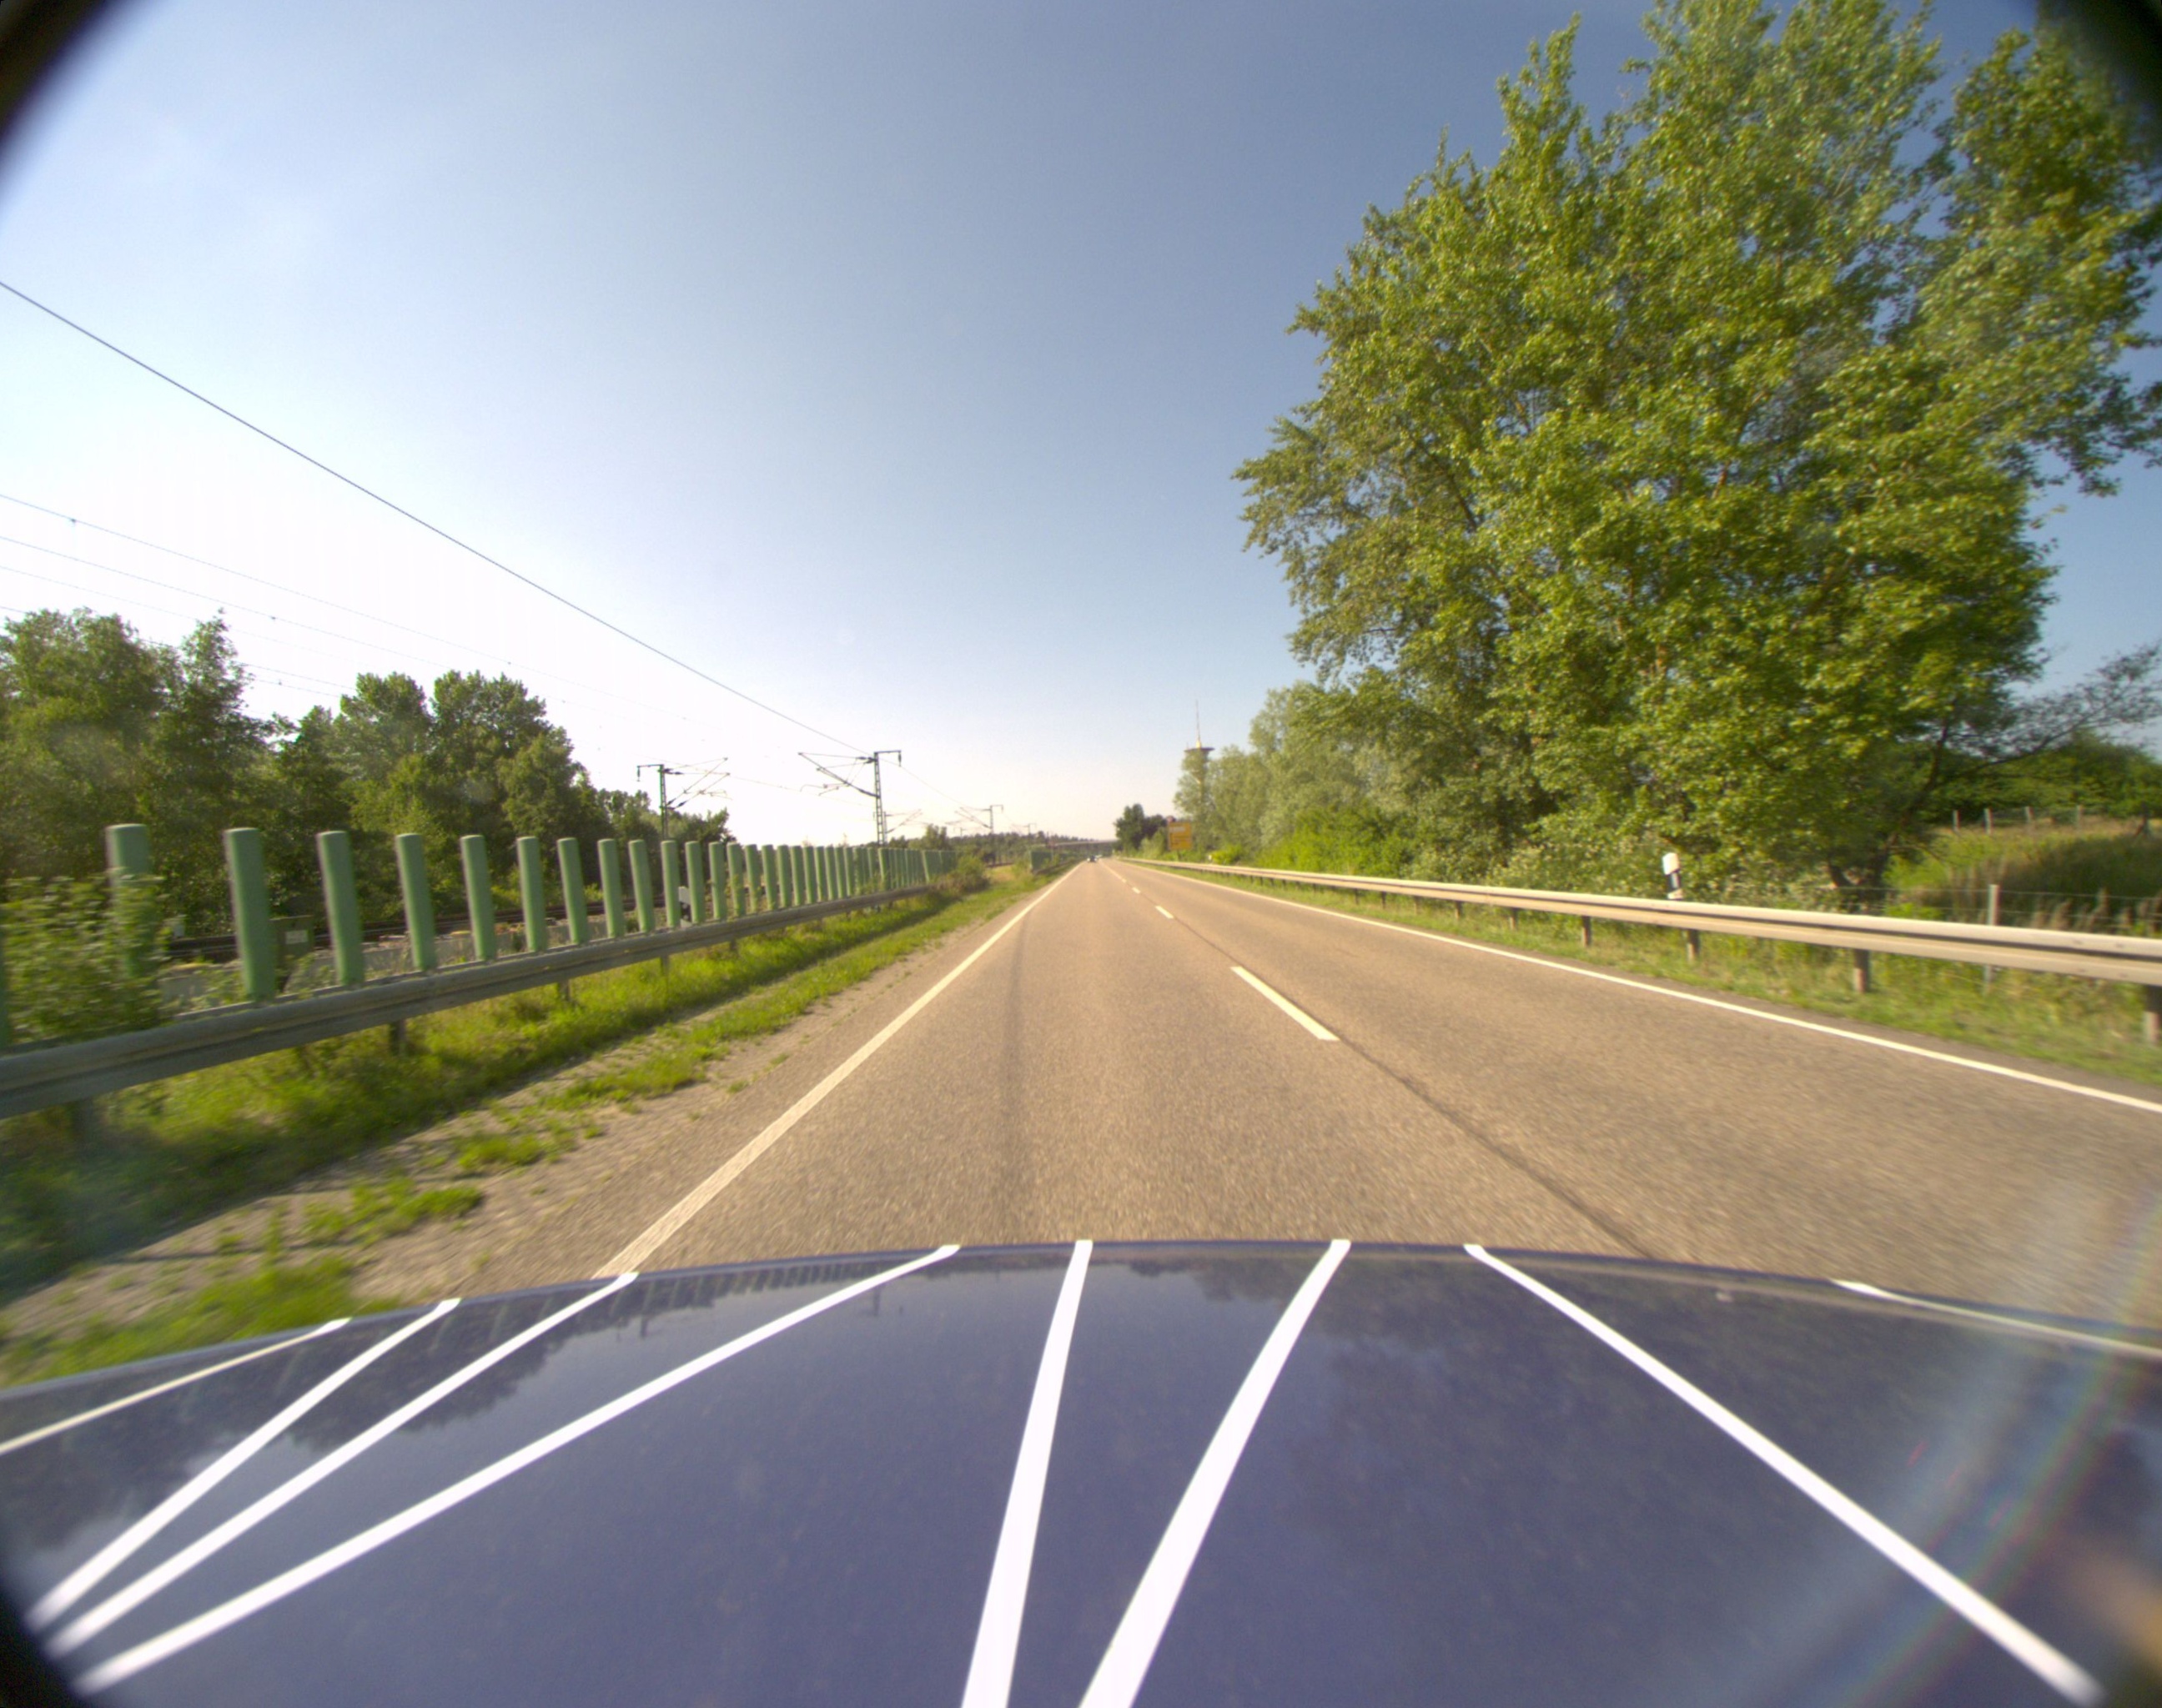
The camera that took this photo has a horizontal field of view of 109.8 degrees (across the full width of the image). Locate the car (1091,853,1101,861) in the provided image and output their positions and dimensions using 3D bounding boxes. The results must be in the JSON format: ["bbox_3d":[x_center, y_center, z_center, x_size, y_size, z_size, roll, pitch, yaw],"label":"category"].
[{"bbox_3d":[3.021,0.495,152.295,1.868,1.533,4.076,-1,0,2],"label":"car"}]
